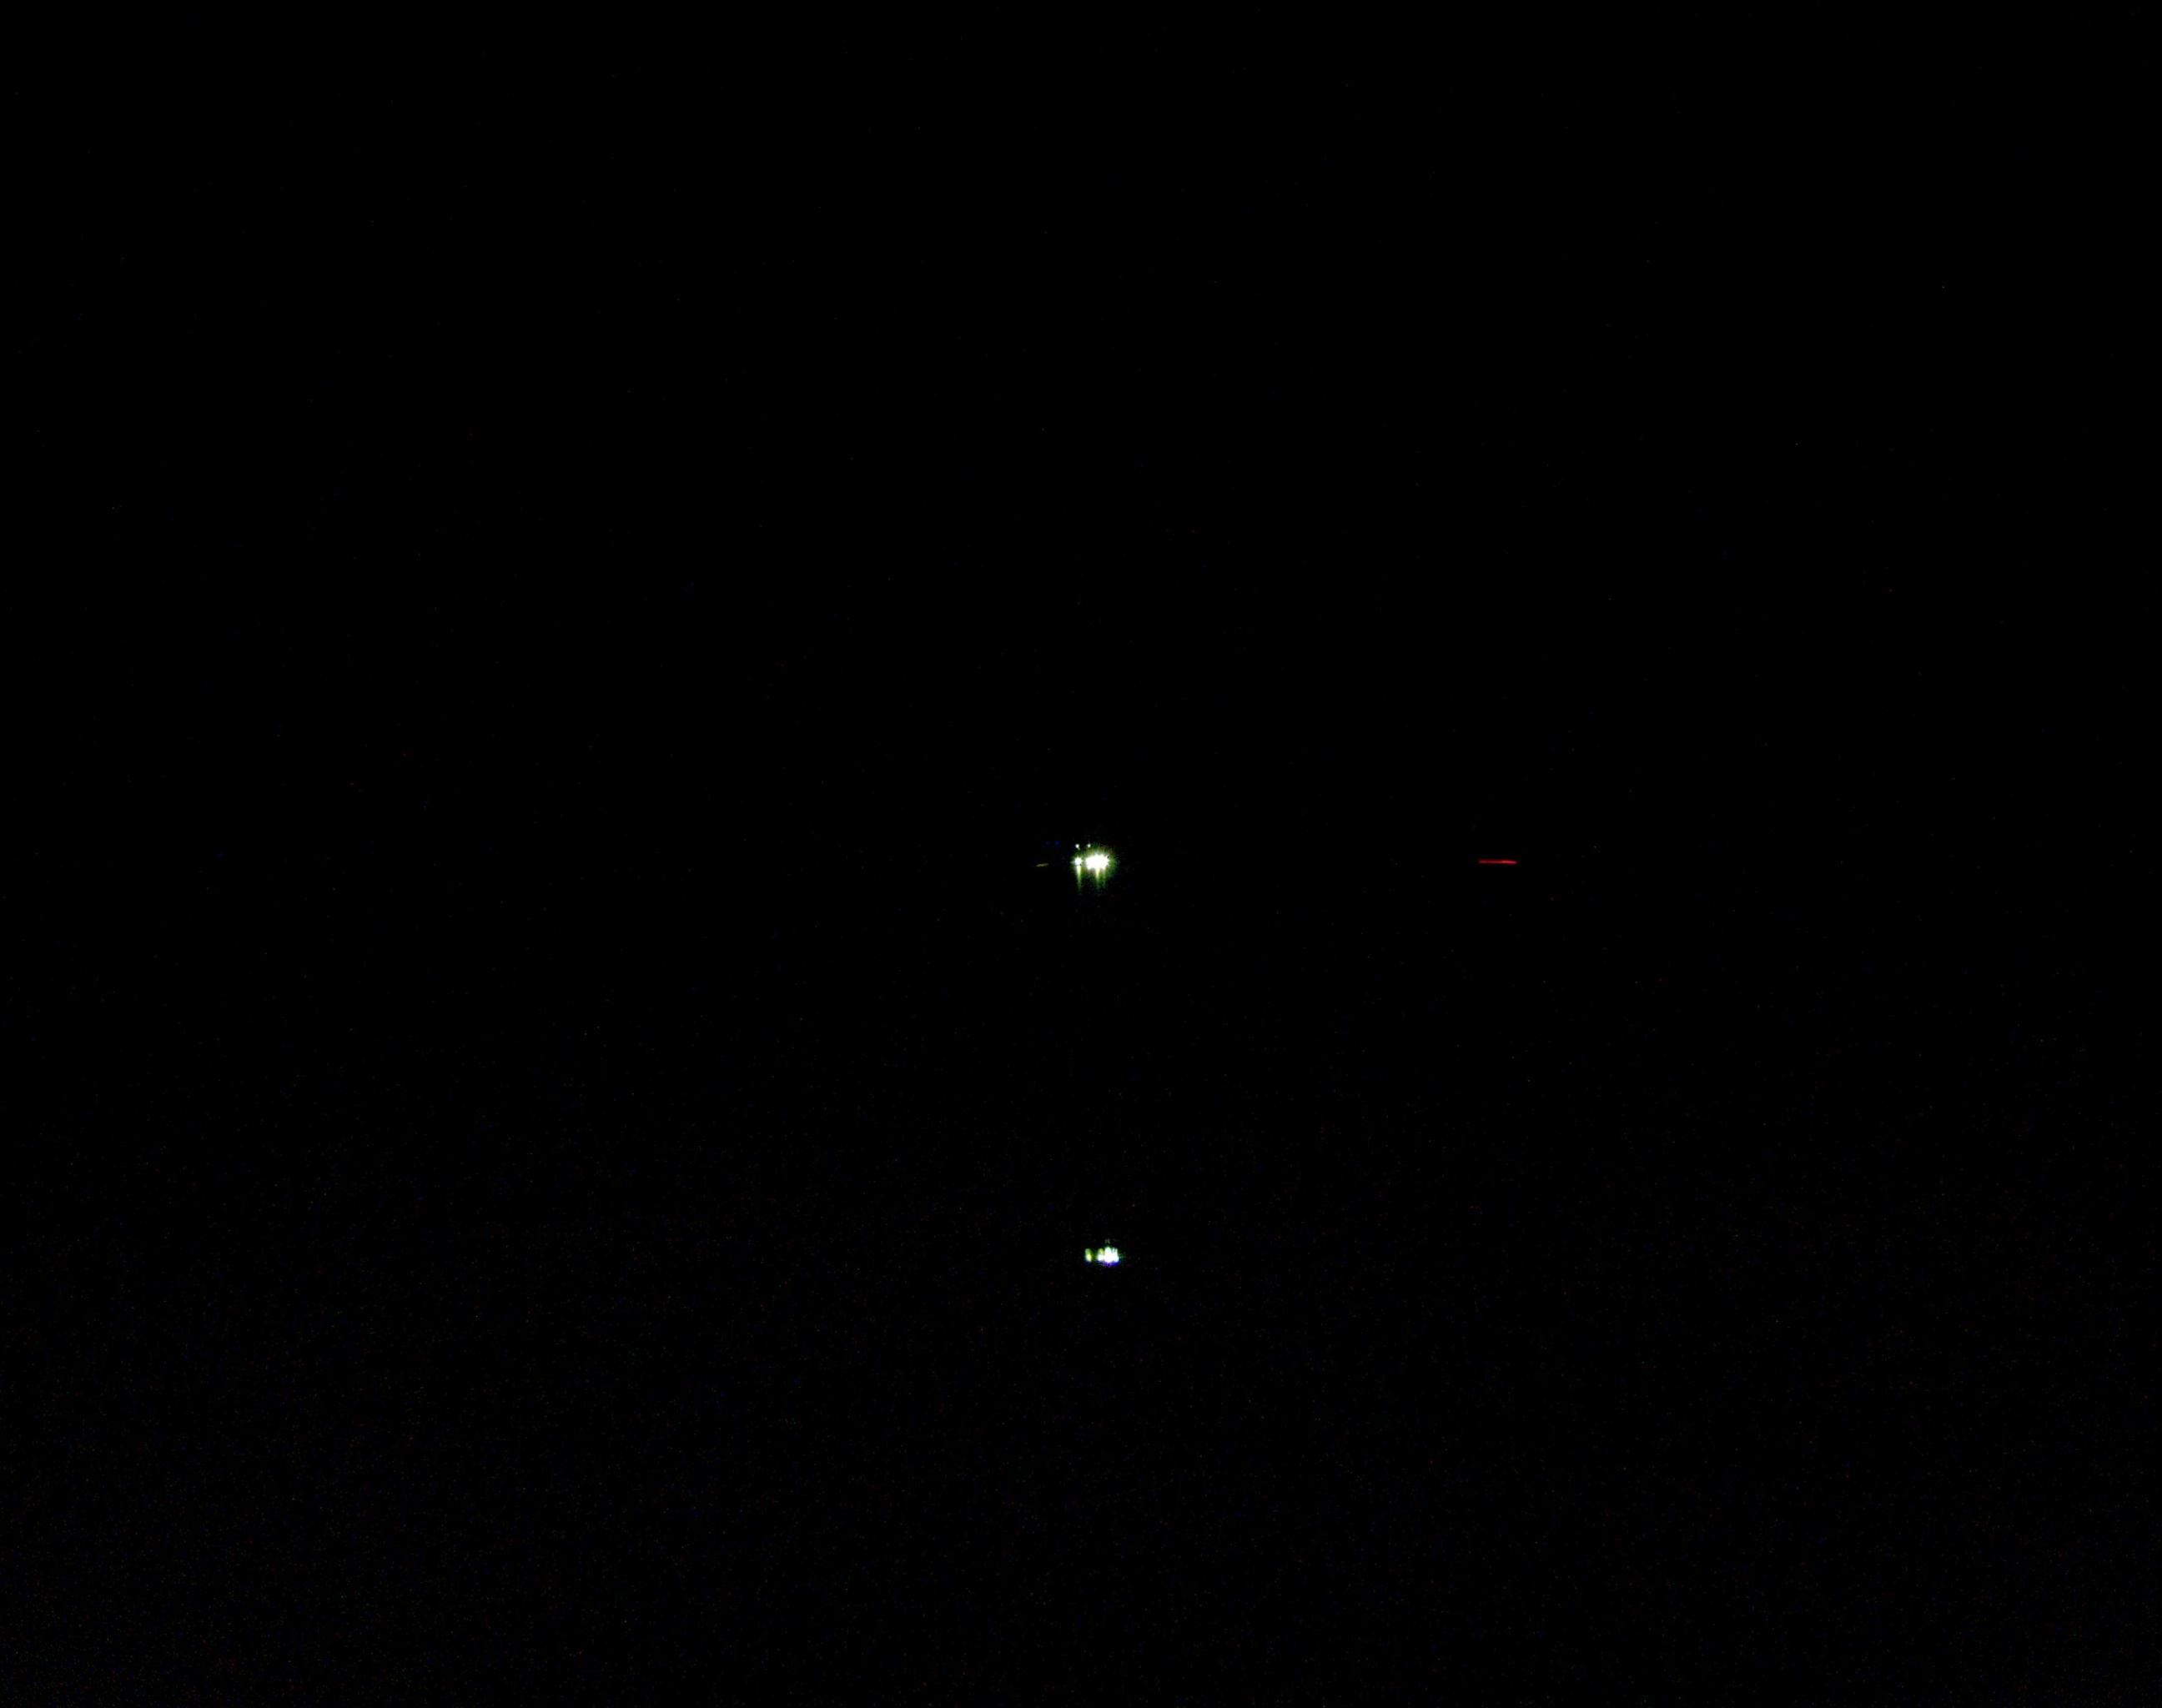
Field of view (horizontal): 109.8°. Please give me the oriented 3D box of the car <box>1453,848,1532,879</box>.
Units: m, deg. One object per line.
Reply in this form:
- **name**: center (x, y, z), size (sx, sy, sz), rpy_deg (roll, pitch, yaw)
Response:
- **car**: center (23.413, 0.514, 43.416), size (1.903, 1.636, 4.702), rpy_deg (-2, 0, -1)

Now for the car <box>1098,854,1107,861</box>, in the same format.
- **car**: center (5.123, 0.861, 181.093), size (1.845, 1.475, 4.294), rpy_deg (-2, 0, 4)

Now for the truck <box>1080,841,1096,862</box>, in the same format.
- **truck**: center (1.413, -0.501, 153.302), size (3.003, 3.876, 12.887), rpy_deg (-2, 0, 0)
